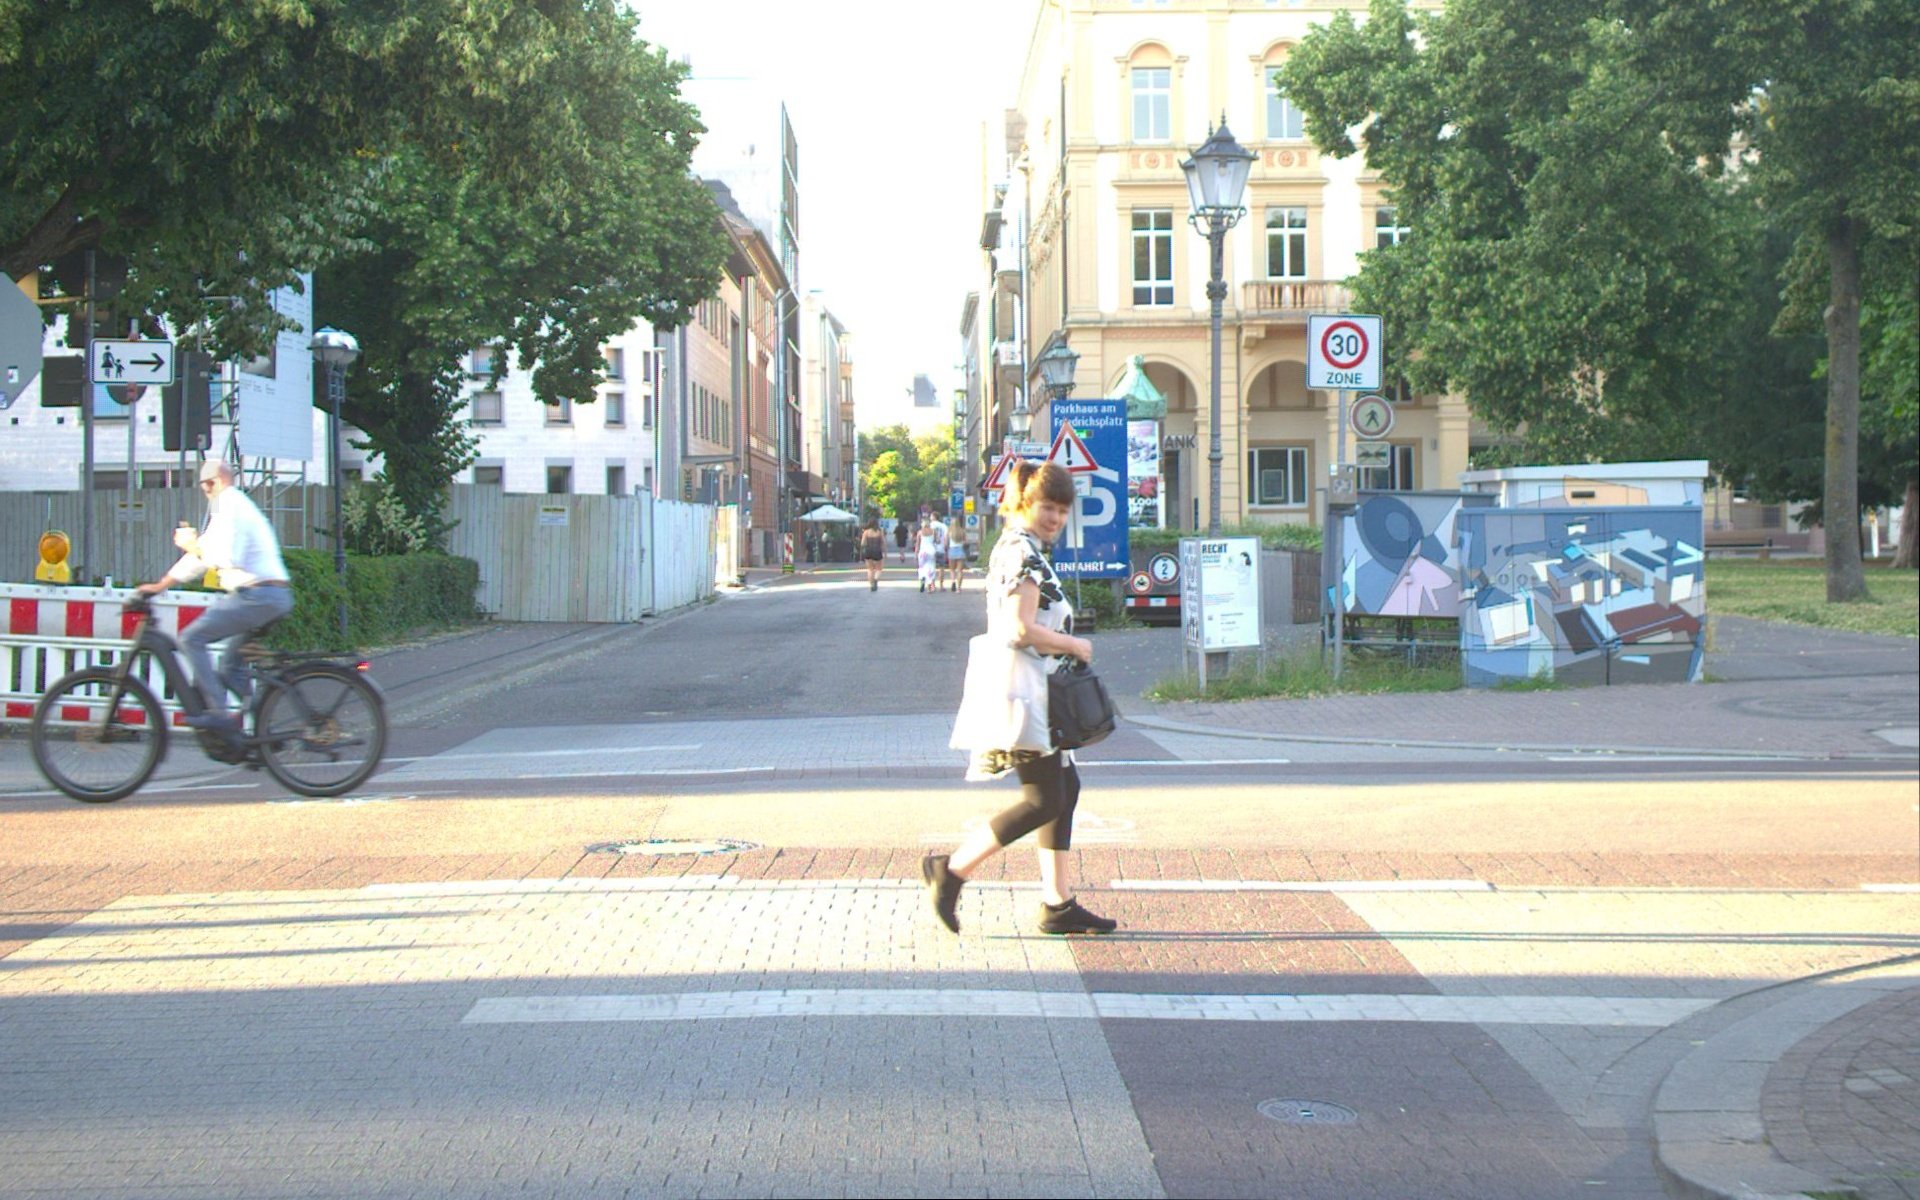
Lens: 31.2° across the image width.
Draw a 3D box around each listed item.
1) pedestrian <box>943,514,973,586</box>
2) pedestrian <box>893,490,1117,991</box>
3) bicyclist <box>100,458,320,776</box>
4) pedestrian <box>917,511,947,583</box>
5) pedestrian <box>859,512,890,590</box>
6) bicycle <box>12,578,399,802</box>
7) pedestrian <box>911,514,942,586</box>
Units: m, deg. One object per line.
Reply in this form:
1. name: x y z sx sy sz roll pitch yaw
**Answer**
1. pedestrian: -0.047 -1.137 77.586 0.657 1.611 0.745 -1 1 0
2. pedestrian: 0.145 0.467 12.019 0.734 1.683 0.836 -1 1 -1
3. bicyclist: -3.931 0.079 18.071 1.060 1.627 0.596 -1 1 -8
4. pedestrian: -0.639 -1.220 79.014 0.657 1.630 0.745 -1 1 0
5. pedestrian: -1.968 -1.127 78.865 0.657 1.754 0.745 -1 1 0
6. bicycle: -3.942 0.458 18.074 1.927 1.117 0.596 -1 1 -8
7. pedestrian: -0.757 -1.123 77.554 0.657 1.611 0.745 -1 1 0
